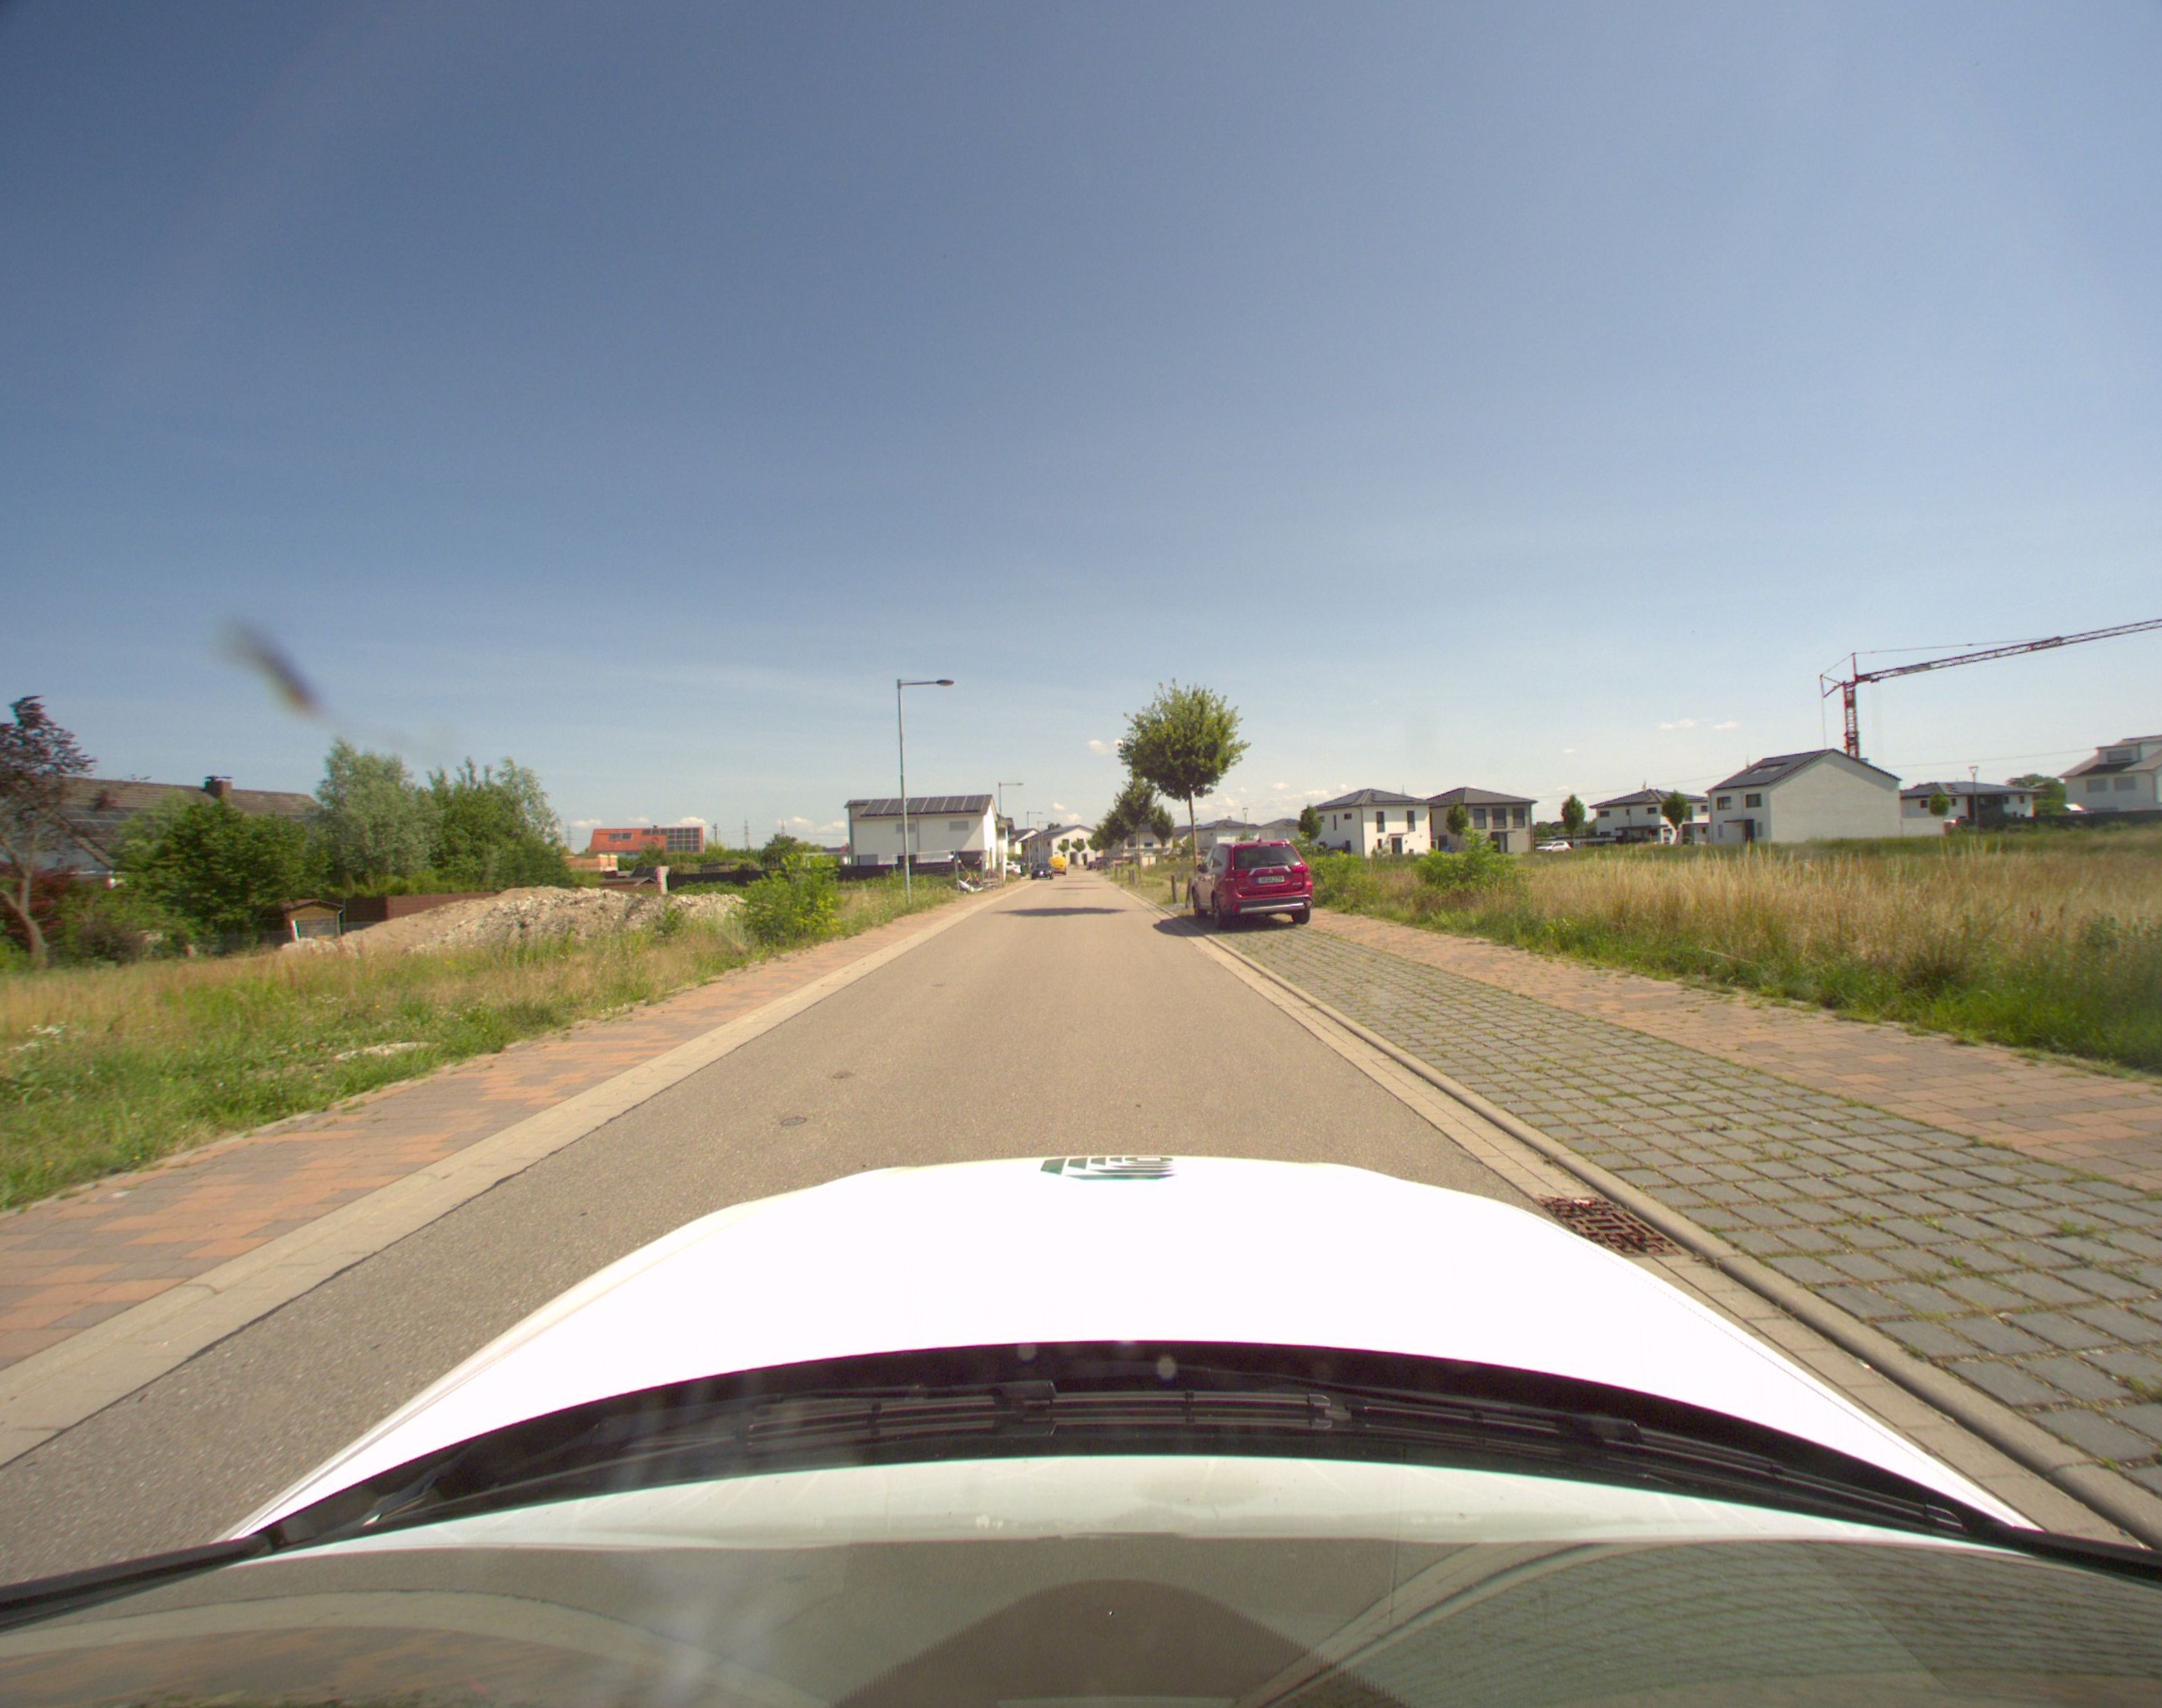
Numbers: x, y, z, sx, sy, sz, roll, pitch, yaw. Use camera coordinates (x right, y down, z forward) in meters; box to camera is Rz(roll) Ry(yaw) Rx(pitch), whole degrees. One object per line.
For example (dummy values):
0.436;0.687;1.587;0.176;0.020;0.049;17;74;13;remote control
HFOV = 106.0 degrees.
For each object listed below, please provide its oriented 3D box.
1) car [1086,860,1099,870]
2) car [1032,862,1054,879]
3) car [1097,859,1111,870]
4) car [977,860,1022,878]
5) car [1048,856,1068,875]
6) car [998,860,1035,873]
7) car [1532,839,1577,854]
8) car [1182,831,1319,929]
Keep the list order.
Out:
1.800;1.742;127.663;1.626;1.322;3.823;-2;-3;-7;car
-3.173;1.351;68.780;1.740;1.405;4.158;0;0;-1;car
3.031;1.399;109.073;1.634;1.403;3.808;-2;-2;-1;car
-7.941;1.464;79.207;4.049;1.581;1.787;-1;0;5;car
-2.574;1.258;88.927;1.938;1.981;4.210;-2;-1;-4;car
-7.903;1.505;99.581;4.169;1.505;1.805;2;-2;-17;car
49.664;-0.807;85.429;3.993;1.398;1.742;-2;-2;-15;car
3.351;0.475;16.977;1.772;1.663;4.432;-4;0;-1;car
